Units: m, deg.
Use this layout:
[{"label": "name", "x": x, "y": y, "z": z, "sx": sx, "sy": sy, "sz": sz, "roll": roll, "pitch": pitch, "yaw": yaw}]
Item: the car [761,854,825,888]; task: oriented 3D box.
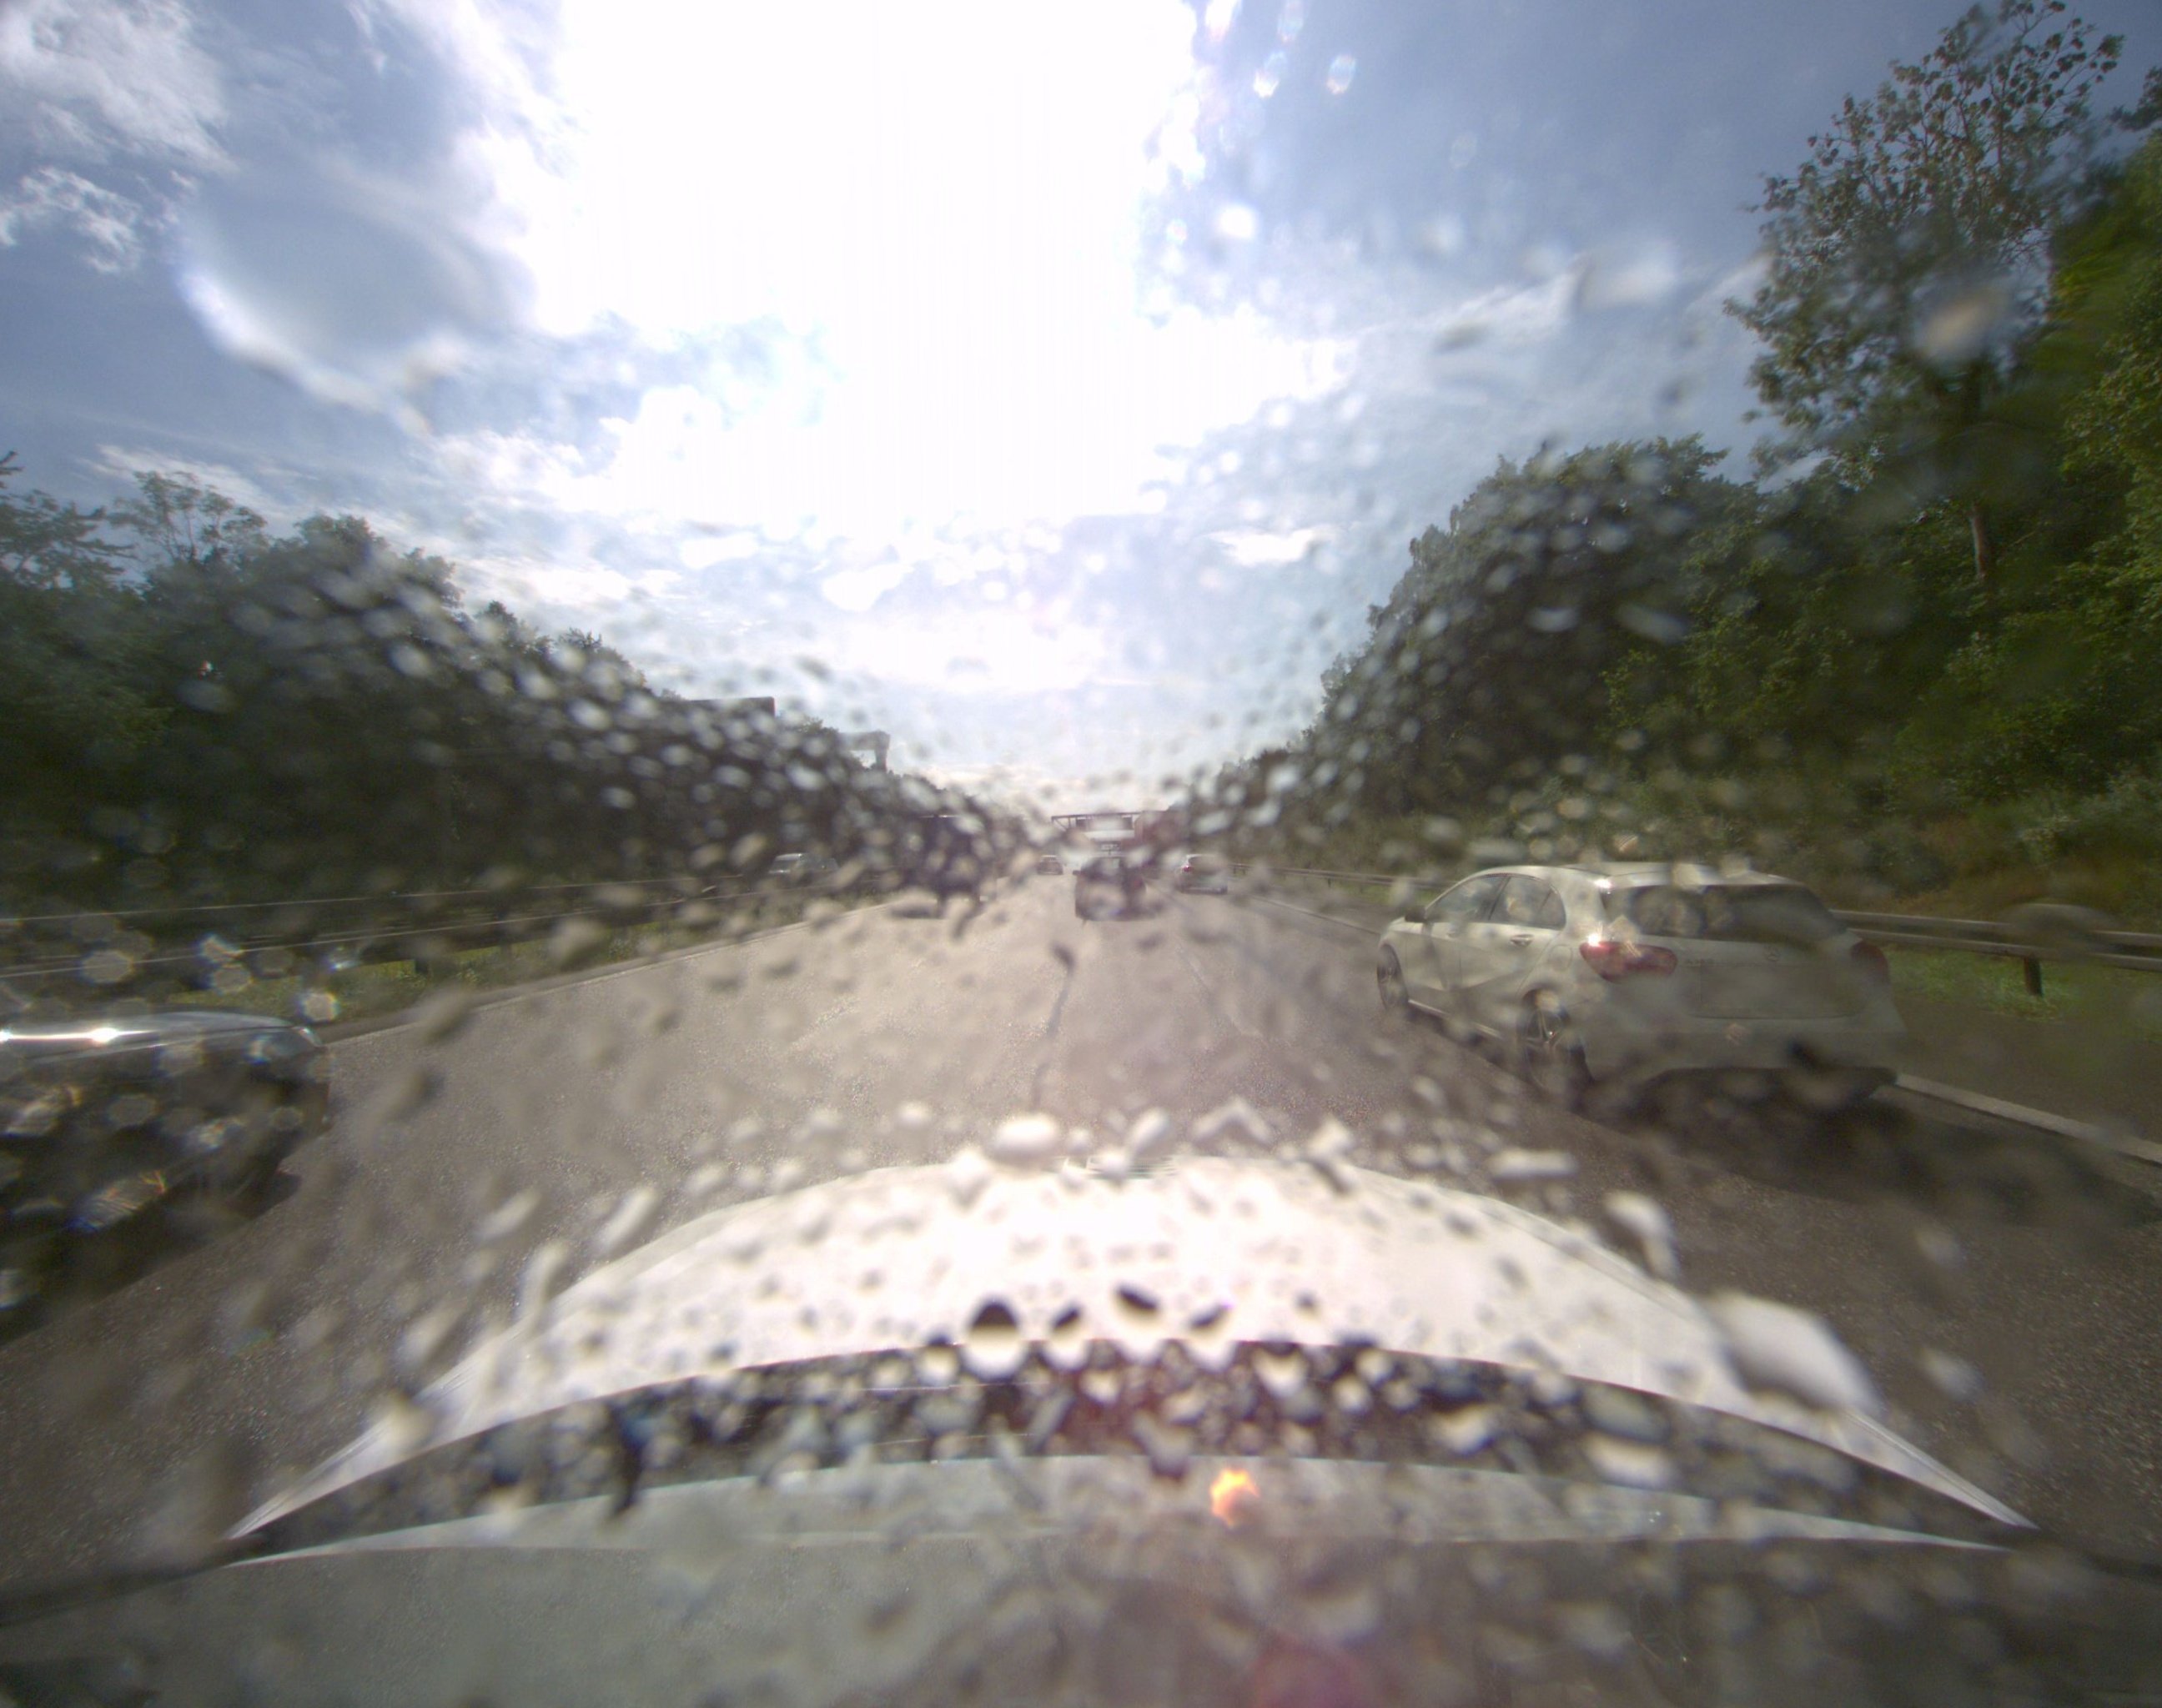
[{"label": "car", "x": -19.992, "y": 1.118, "z": 56.900, "sx": 2.137, "sy": 2.249, "sz": 5.982, "roll": -1, "pitch": 0, "yaw": 2}]

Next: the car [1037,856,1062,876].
[{"label": "car", "x": -2.441, "y": 0.905, "z": 63.618, "sx": 1.848, "sy": 1.551, "sz": 3.484, "roll": -1, "pitch": 0, "yaw": 0}]

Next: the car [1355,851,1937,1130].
[{"label": "car", "x": 3.622, "y": 0.714, "z": 6.318, "sx": 1.686, "sy": 1.425, "sz": 4.222, "roll": -1, "pitch": 0, "yaw": 2}]

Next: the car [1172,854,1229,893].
[{"label": "car", "x": 4.665, "y": 0.732, "z": 32.199, "sx": 1.675, "sy": 1.442, "sz": 3.904, "roll": -1, "pitch": 0, "yaw": 0}]

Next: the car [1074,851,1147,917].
[{"label": "car", "x": 0.713, "y": 0.714, "z": 21.114, "sx": 1.712, "sy": 1.567, "sz": 3.484, "roll": -1, "pitch": 0, "yaw": 0}]

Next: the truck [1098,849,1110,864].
[{"label": "truck", "x": 4.483, "y": 0.530, "z": 159.314, "sx": 2.185, "sy": 2.875, "sz": 4.849, "roll": -1, "pitch": 0, "yaw": 0}]

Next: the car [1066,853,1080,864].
[{"label": "car", "x": -1.070, "y": 0.638, "z": 108.411, "sx": 1.745, "sy": 1.457, "sz": 3.389, "roll": -1, "pitch": 0, "yaw": 0}]

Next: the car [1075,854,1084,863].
[{"label": "car", "x": -0.311, "y": 0.774, "z": 134.713, "sx": 1.455, "sy": 1.393, "sz": 3.311, "roll": -1, "pitch": 0, "yaw": 0}]

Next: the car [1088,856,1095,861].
[{"label": "car", "x": 2.393, "y": 1.017, "z": 185.859, "sx": 1.544, "sy": 1.267, "sz": 3.484, "roll": -1, "pitch": 0, "yaw": 0}]

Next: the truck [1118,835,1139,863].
[{"label": "truck", "x": 8.068, "y": -0.841, "z": 139.493, "sx": 3.244, "sy": 4.479, "sz": 12.426, "roll": -1, "pitch": 0, "yaw": 2}]

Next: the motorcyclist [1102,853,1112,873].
[{"label": "motorcyclist", "x": 2.183, "y": 0.747, "z": 67.798, "sx": 0.799, "sy": 1.633, "sz": 1.013, "roll": -1, "pitch": 0, "yaw": 0}]

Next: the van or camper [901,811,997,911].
[{"label": "van or camper", "x": -3.851, "y": 0.200, "z": 24.708, "sx": 1.987, "sy": 2.669, "sz": 5.384, "roll": -1, "pitch": 0, "yaw": 0}]

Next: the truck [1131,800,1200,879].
[{"label": "truck", "x": 5.644, "y": -0.855, "z": 57.709, "sx": 3.636, "sy": 4.720, "sz": 16.786, "roll": -1, "pitch": 0, "yaw": 2}]

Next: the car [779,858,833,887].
[{"label": "car", "x": -16.339, "y": 1.053, "z": 48.519, "sx": 1.741, "sy": 1.634, "sz": 4.002, "roll": -1, "pitch": 0, "yaw": 2}]

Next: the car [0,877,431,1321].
[{"label": "car", "x": -4.469, "y": 0.834, "z": 1.998, "sx": 1.788, "sy": 1.419, "sz": 4.840, "roll": -1, "pitch": 0, "yaw": 1}]

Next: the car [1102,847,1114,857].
[{"label": "car", "x": 3.741, "y": -0.279, "z": 113.665, "sx": 1.547, "sy": 1.383, "sz": 3.209, "roll": -1, "pitch": 0, "yaw": 0}]

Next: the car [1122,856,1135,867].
[{"label": "car", "x": 6.466, "y": 0.990, "z": 111.243, "sx": 1.547, "sy": 1.383, "sz": 3.209, "roll": -1, "pitch": 0, "yaw": 0}]

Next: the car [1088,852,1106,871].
[{"label": "car", "x": 1.474, "y": 0.709, "z": 75.770, "sx": 1.526, "sy": 1.746, "sz": 3.484, "roll": -1, "pitch": 0, "yaw": 0}]
